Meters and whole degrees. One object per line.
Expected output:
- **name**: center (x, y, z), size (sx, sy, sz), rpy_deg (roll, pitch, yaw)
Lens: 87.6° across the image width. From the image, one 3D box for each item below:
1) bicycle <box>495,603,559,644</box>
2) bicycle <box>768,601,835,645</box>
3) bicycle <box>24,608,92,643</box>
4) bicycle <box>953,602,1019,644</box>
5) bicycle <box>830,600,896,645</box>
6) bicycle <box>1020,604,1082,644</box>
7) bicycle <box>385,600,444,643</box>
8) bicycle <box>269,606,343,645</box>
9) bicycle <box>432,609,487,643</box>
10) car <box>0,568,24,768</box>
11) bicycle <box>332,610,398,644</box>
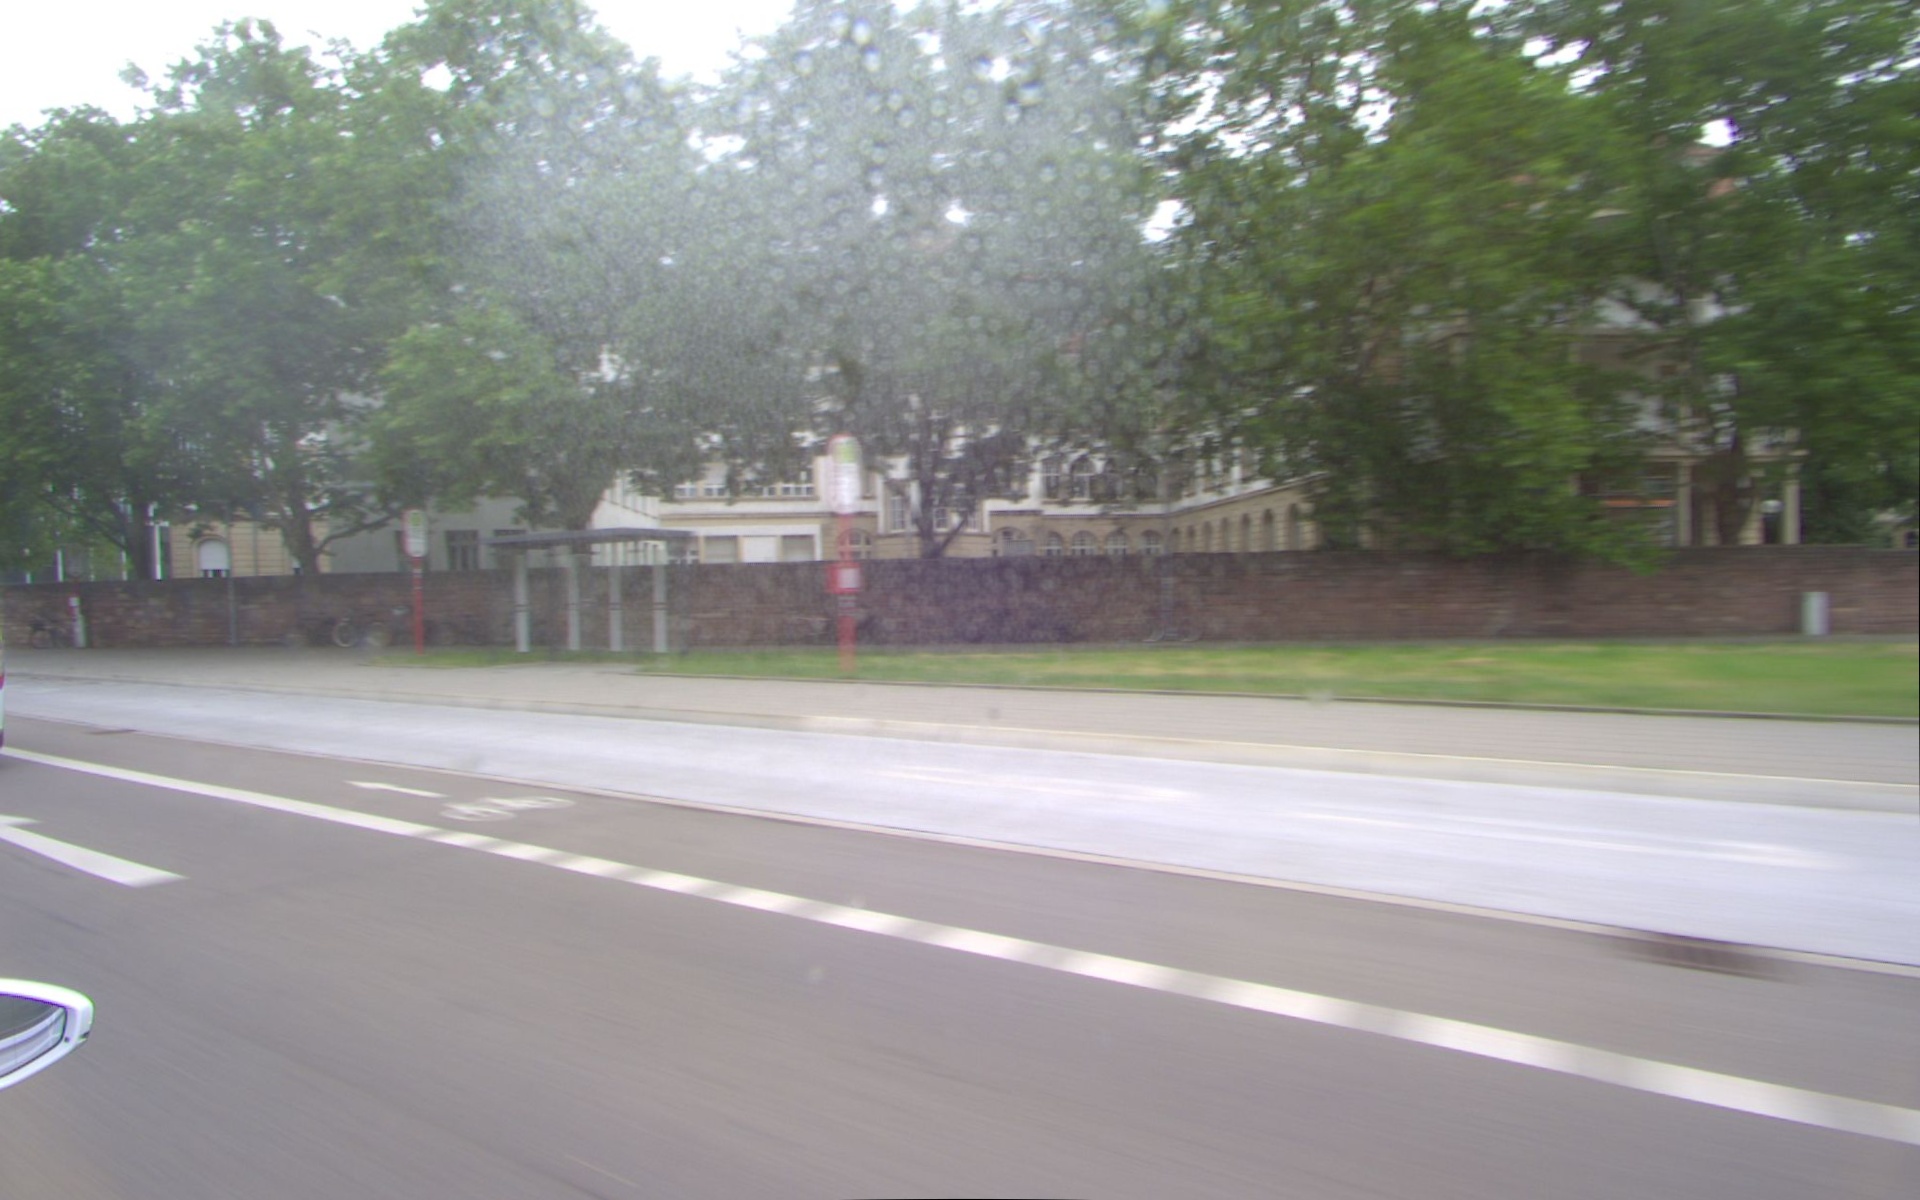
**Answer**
- **bicycle**: center (-12.427, 0.673, 28.754), size (1.624, 1.120, 0.597), rpy_deg (-1, 3, 12)
- **bicycle**: center (-4.309, 0.622, 27.337), size (1.680, 1.152, 0.595), rpy_deg (-1, 3, 6)
- **bicycle**: center (-31.440, 0.878, 34.918), size (1.889, 1.143, 0.849), rpy_deg (-1, 3, 17)
- **bicycle**: center (0.700, 0.609, 26.575), size (1.680, 1.074, 0.595), rpy_deg (-1, 3, 6)
- **bicycle**: center (-2.619, 0.603, 27.142), size (1.680, 1.145, 0.595), rpy_deg (-1, 3, 6)
- **bicycle**: center (2.382, 0.633, 26.372), size (1.605, 1.005, 0.550), rpy_deg (-1, 3, 3)
- **bicycle**: center (-16.319, 0.638, 29.954), size (1.597, 1.238, 0.499), rpy_deg (-1, 3, 14)
- **bicycle**: center (-20.136, 0.784, 30.850), size (1.757, 1.115, 0.720), rpy_deg (-1, 3, 3)
- **bicycle**: center (-14.779, 0.764, 29.560), size (1.497, 0.955, 0.416), rpy_deg (-1, 3, 15)
- **car**: center (-11.818, 0.677, 10.501), size (4.282, 1.998, 1.962), rpy_deg (0, -1, 33)
- **bicycle**: center (-18.057, 0.814, 30.391), size (1.737, 0.964, 0.654), rpy_deg (-1, 3, 14)
